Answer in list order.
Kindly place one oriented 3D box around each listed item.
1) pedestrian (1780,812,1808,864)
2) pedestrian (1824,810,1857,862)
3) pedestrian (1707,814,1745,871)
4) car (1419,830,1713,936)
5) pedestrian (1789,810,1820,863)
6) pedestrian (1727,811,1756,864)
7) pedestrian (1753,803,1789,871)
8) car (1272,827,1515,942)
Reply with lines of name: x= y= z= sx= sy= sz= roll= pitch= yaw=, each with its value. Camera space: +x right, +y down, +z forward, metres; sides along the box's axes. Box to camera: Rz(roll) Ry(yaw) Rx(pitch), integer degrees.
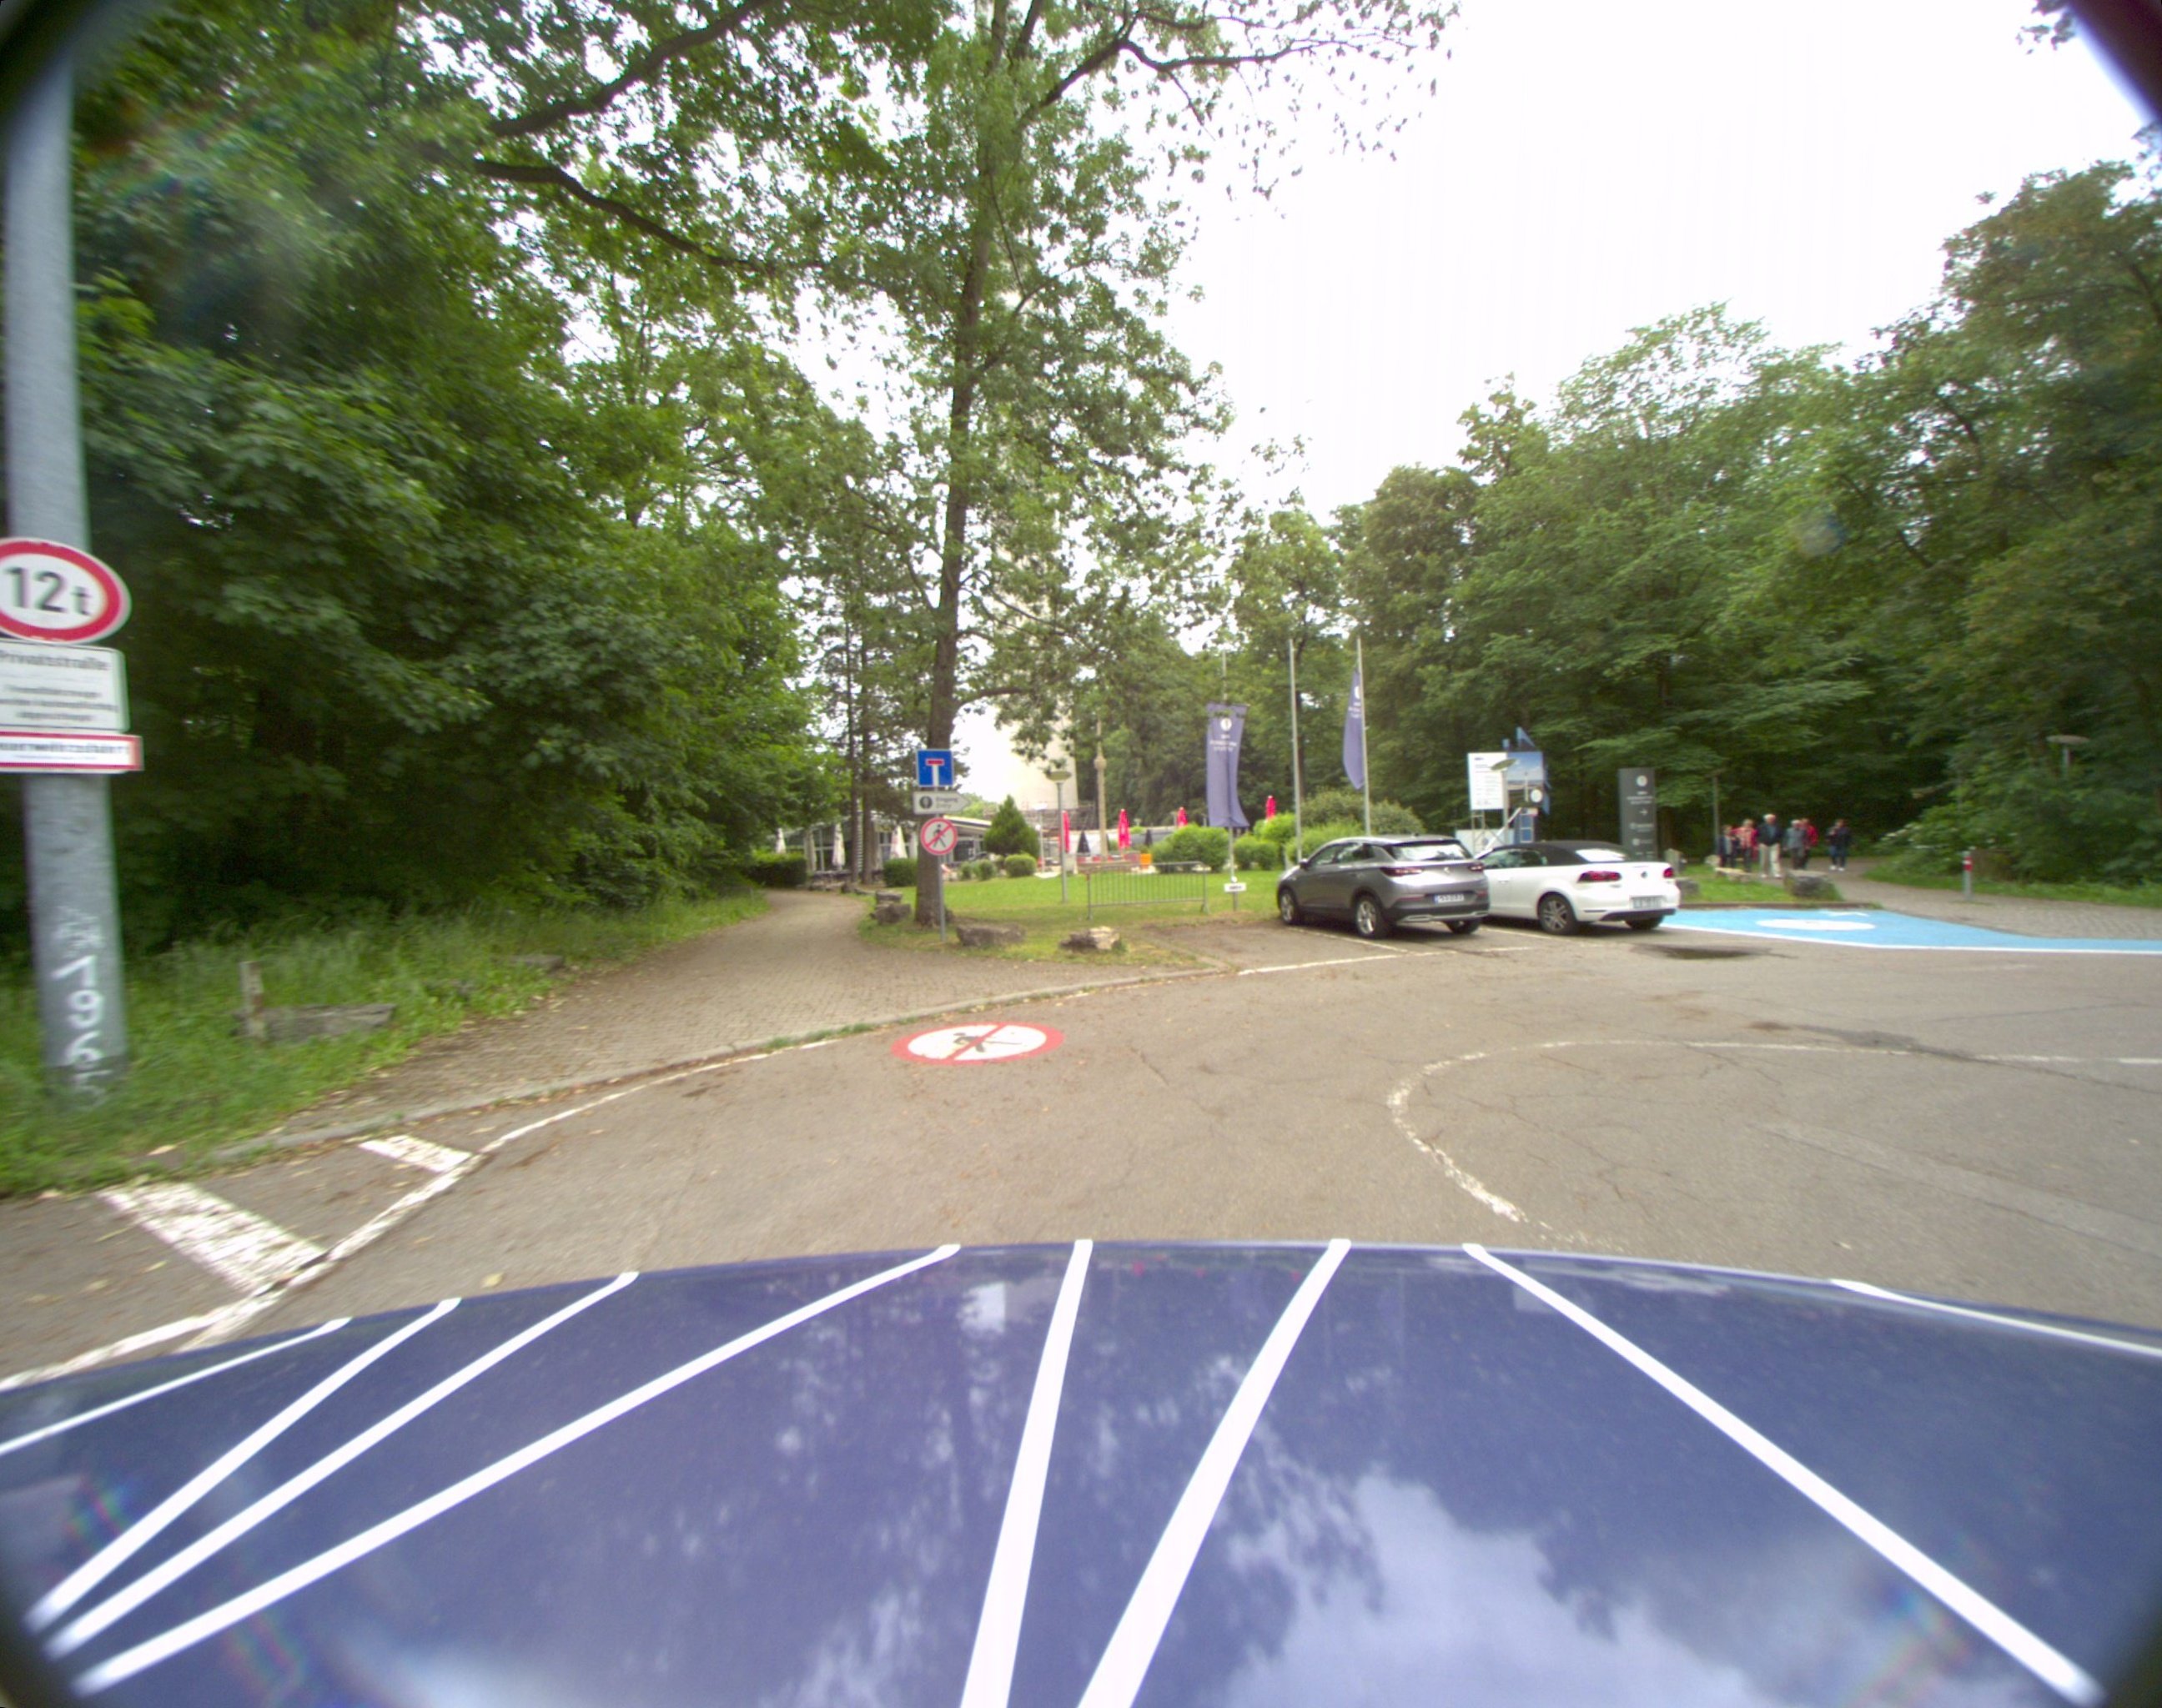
pedestrian: x=23.369 y=-0.523 z=24.911 sx=0.607 sy=1.664 sz=0.606 roll=-1 pitch=2 yaw=38
pedestrian: x=24.875 y=-0.588 z=24.894 sx=0.680 sy=1.664 sz=0.664 roll=-1 pitch=2 yaw=38
pedestrian: x=18.834 y=-0.320 z=22.182 sx=0.776 sy=1.624 sz=0.638 roll=-1 pitch=2 yaw=43
car: x=7.773 y=0.385 z=12.716 sx=1.899 sy=1.420 sz=3.995 roll=-2 pitch=1 yaw=-11
pedestrian: x=24.636 y=-0.592 z=25.877 sx=0.680 sy=1.758 sz=0.715 roll=-1 pitch=2 yaw=38
pedestrian: x=22.615 y=-0.565 z=26.017 sx=0.682 sy=1.752 sz=0.606 roll=-1 pitch=2 yaw=38
pedestrian: x=20.029 y=-0.487 z=22.045 sx=0.732 sy=1.905 sz=0.669 roll=-1 pitch=2 yaw=43
car: x=5.022 y=0.407 z=12.887 sx=1.899 sy=1.576 sz=3.996 roll=-2 pitch=1 yaw=-11
